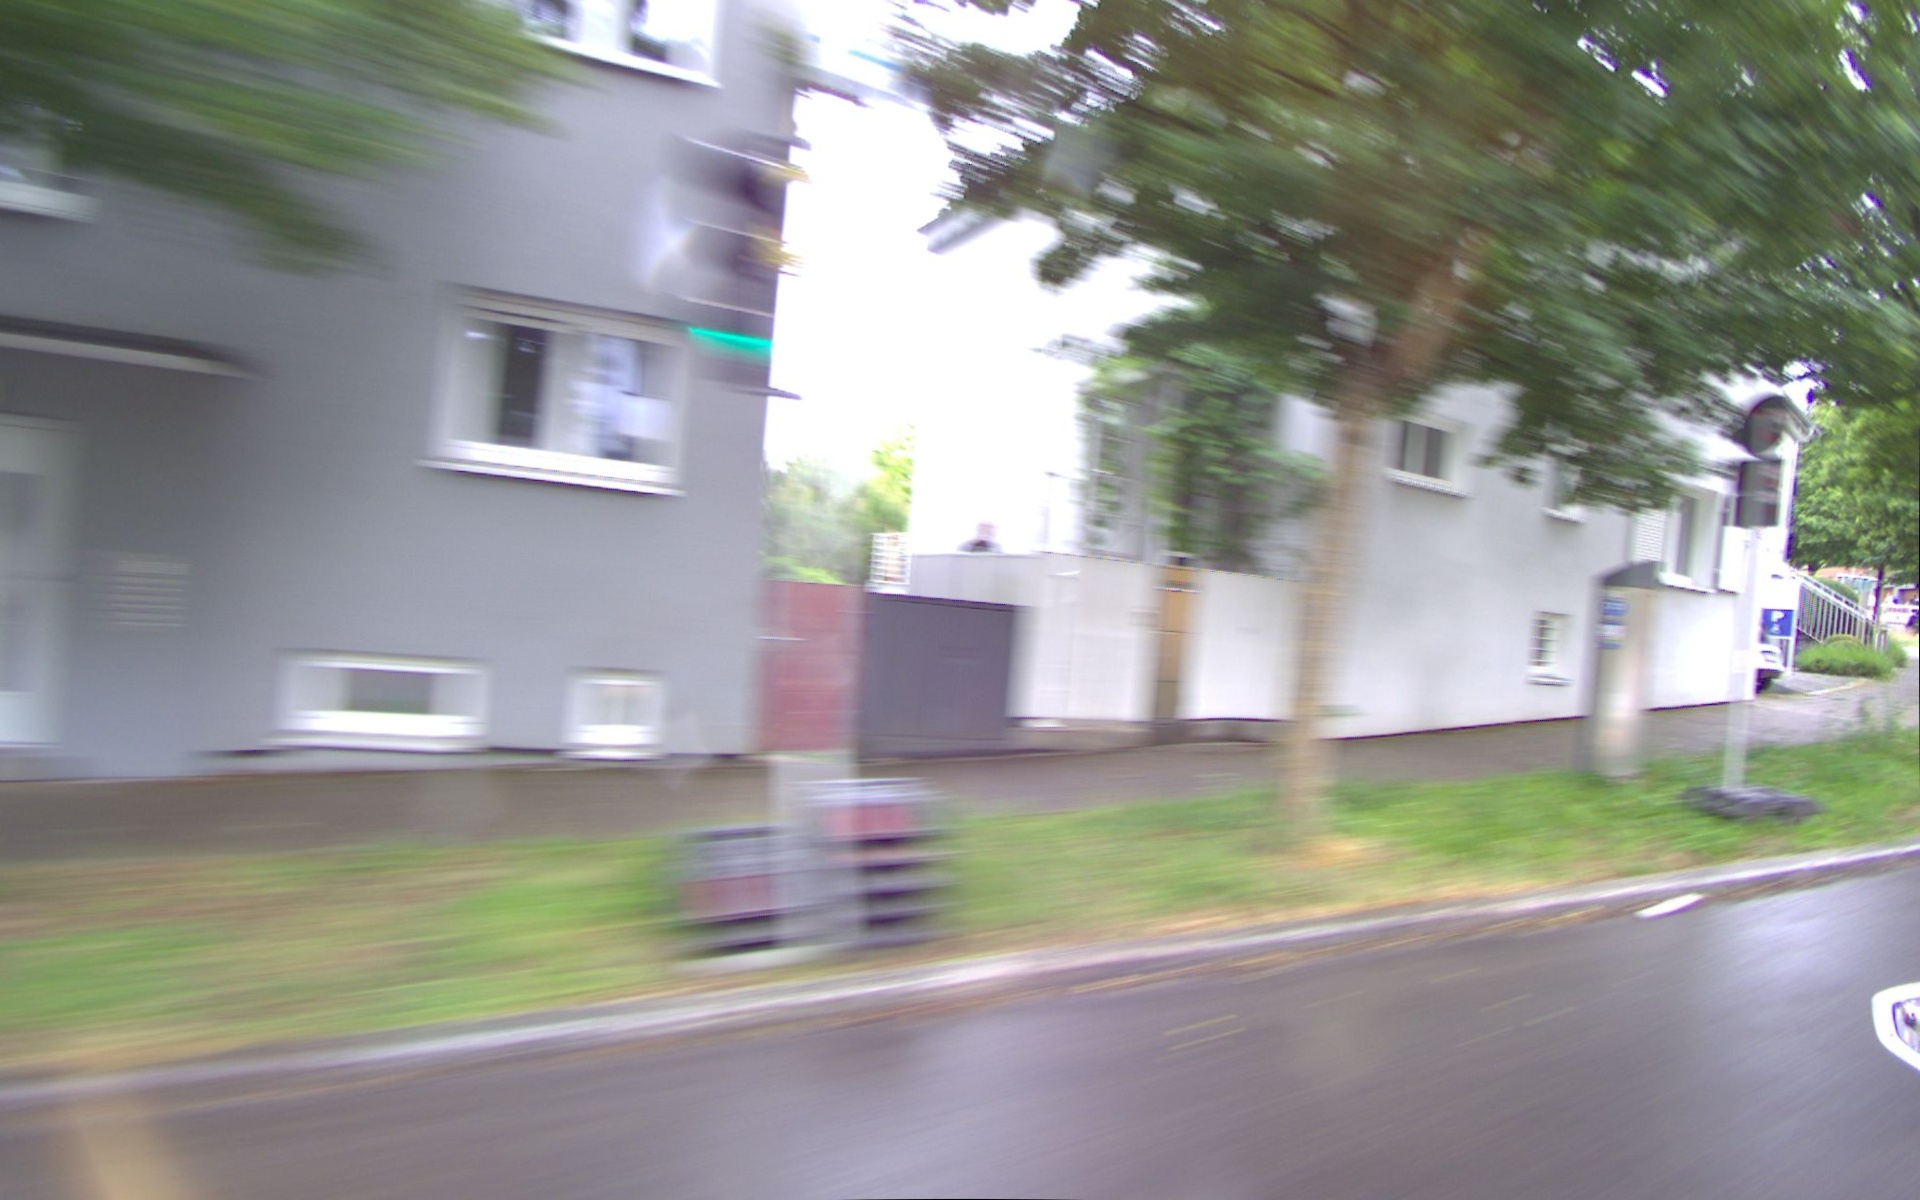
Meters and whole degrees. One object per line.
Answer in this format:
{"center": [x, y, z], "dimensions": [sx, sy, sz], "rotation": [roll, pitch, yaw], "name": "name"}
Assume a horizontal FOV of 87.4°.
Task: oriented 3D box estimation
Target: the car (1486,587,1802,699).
{"center": [11.175, 0.623, 16.693], "dimensions": [1.730, 1.582, 3.965], "rotation": [2, 0, -32], "name": "car"}

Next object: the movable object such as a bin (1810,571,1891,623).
{"center": [49.659, -0.246, 56.108], "dimensions": [1.961, 2.649, 3.998], "rotation": [2, 4, 21], "name": "movable object such as a bin"}

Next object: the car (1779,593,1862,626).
{"center": [43.089, 0.496, 50.402], "dimensions": [1.692, 1.506, 4.078], "rotation": [2, -1, 17], "name": "car"}

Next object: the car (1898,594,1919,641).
{"center": [38.349, 0.712, 38.888], "dimensions": [1.963, 1.817, 3.995], "rotation": [2, -1, 28], "name": "car"}
